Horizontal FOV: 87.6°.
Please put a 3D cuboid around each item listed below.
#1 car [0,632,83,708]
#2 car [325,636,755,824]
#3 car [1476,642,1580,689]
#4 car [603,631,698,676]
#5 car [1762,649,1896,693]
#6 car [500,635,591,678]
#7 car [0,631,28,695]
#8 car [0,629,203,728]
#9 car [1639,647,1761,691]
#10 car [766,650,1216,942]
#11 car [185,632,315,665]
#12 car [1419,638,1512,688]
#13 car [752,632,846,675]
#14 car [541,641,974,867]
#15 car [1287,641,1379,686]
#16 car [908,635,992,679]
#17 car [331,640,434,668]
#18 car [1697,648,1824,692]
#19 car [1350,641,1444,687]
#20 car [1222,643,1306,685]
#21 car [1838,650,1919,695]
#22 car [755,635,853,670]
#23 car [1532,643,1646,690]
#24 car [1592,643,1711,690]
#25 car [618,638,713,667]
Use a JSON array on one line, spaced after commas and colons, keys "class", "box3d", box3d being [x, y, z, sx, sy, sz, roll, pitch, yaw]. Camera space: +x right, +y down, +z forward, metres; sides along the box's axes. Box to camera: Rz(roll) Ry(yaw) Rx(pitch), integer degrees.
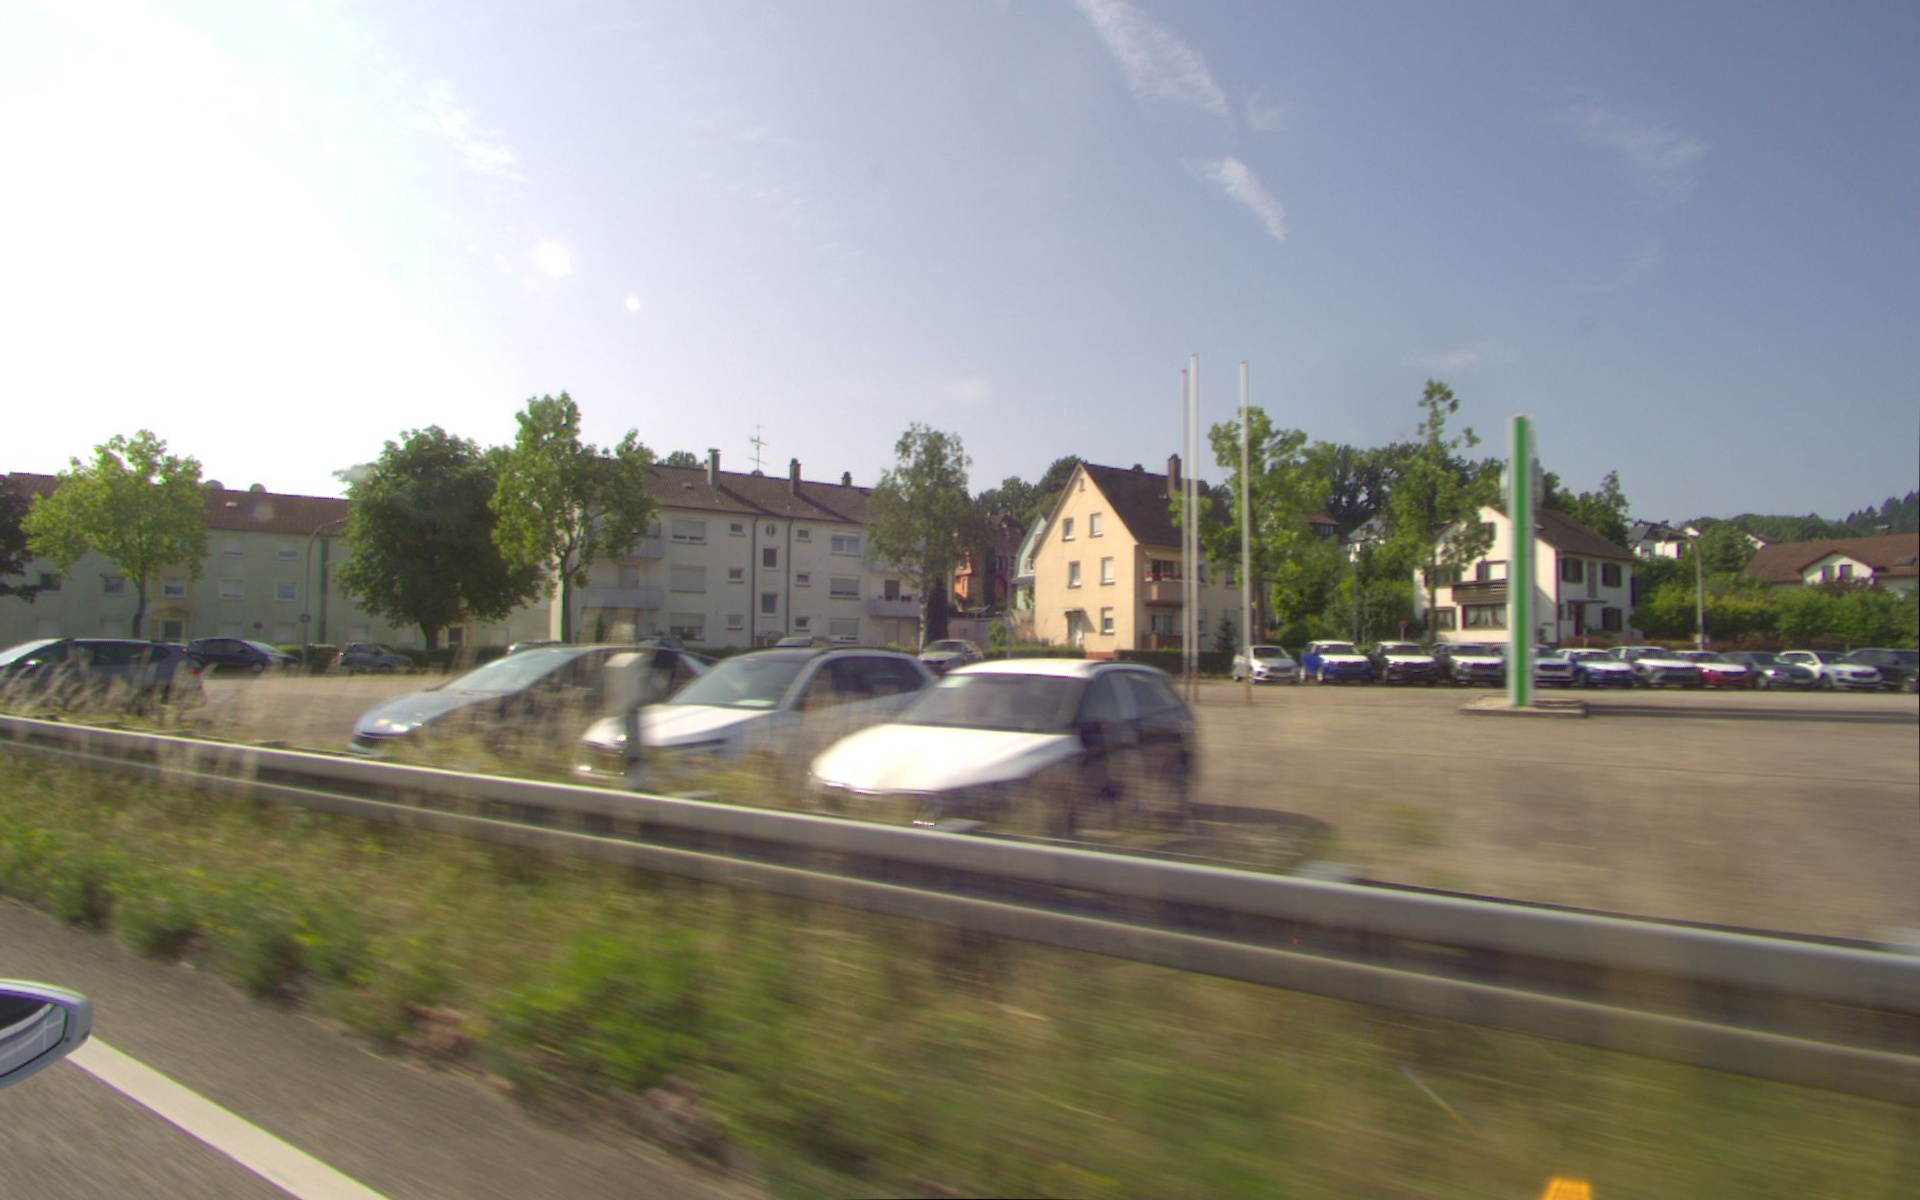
[{"class": "car", "box3d": [-21.378, 1.481, 21.130, 1.751, 1.600, 3.984, -1, -2, 29]}, {"class": "car", "box3d": [-4.337, 1.219, 11.014, 1.716, 1.565, 4.152, -1, -1, 32]}, {"class": "car", "box3d": [22.131, 2.519, 39.245, 1.894, 1.655, 4.752, -1, -2, 7]}, {"class": "car", "box3d": [-11.735, 2.002, 38.294, 1.806, 1.620, 4.499, 0, -2, 7]}, {"class": "car", "box3d": [34.186, 2.756, 39.579, 1.743, 1.566, 4.751, -1, -2, 10]}, {"class": "car", "box3d": [-15.665, 2.099, 38.022, 1.625, 1.541, 3.768, 0, -2, 4]}, {"class": "car", "box3d": [-25.049, 1.520, 23.853, 1.780, 1.588, 3.843, -1, -2, 30]}, {"class": "car", "box3d": [-16.397, 1.366, 18.054, 1.860, 1.660, 3.983, -1, -2, 30]}, {"class": "car", "box3d": [29.405, 2.693, 40.004, 1.742, 1.566, 4.753, -1, -2, 6]}, {"class": "car", "box3d": [0.540, 1.218, 7.897, 1.707, 1.510, 4.152, -1, -1, 32]}, {"class": "car", "box3d": [-30.883, 2.108, 43.624, 4.437, 1.423, 1.915, 0, -2, 6]}, {"class": "car", "box3d": [19.546, 2.396, 38.951, 1.895, 1.803, 4.751, -1, -2, 9]}, {"class": "car", "box3d": [-5.989, 1.989, 37.848, 1.830, 1.540, 4.633, 0, -2, 15]}, {"class": "car", "box3d": [-1.674, 1.233, 9.674, 1.746, 1.576, 4.152, -1, -1, 32]}, {"class": "car", "box3d": [14.459, 2.425, 39.123, 1.894, 1.608, 4.753, 0, -2, 1]}, {"class": "car", "box3d": [-0.292, 2.084, 37.568, 1.960, 1.540, 4.758, 0, -2, 15]}, {"class": "car", "box3d": [-24.932, 2.314, 43.254, 3.591, 1.201, 1.595, 0, -2, 6]}, {"class": "car", "box3d": [31.662, 2.732, 39.795, 1.742, 1.566, 4.752, -1, -2, 8]}, {"class": "car", "box3d": [16.912, 2.457, 39.011, 1.894, 1.608, 4.753, -1, -2, 4]}, {"class": "car", "box3d": [11.782, 2.446, 39.161, 1.894, 1.477, 4.753, 0, -2, 1]}, {"class": "car", "box3d": [36.760, 2.788, 38.917, 1.743, 1.566, 4.751, -1, -2, 11]}, {"class": "car", "box3d": [-6.799, 2.277, 43.769, 3.911, 1.493, 1.788, 0, -2, 7]}, {"class": "car", "box3d": [24.536, 2.570, 39.294, 1.894, 1.655, 4.752, -1, -2, 7]}, {"class": "car", "box3d": [27.192, 2.573, 39.575, 1.894, 1.655, 4.752, -1, -2, 8]}, {"class": "car", "box3d": [-12.585, 2.241, 42.954, 3.591, 1.201, 1.595, 0, -2, 2]}]
